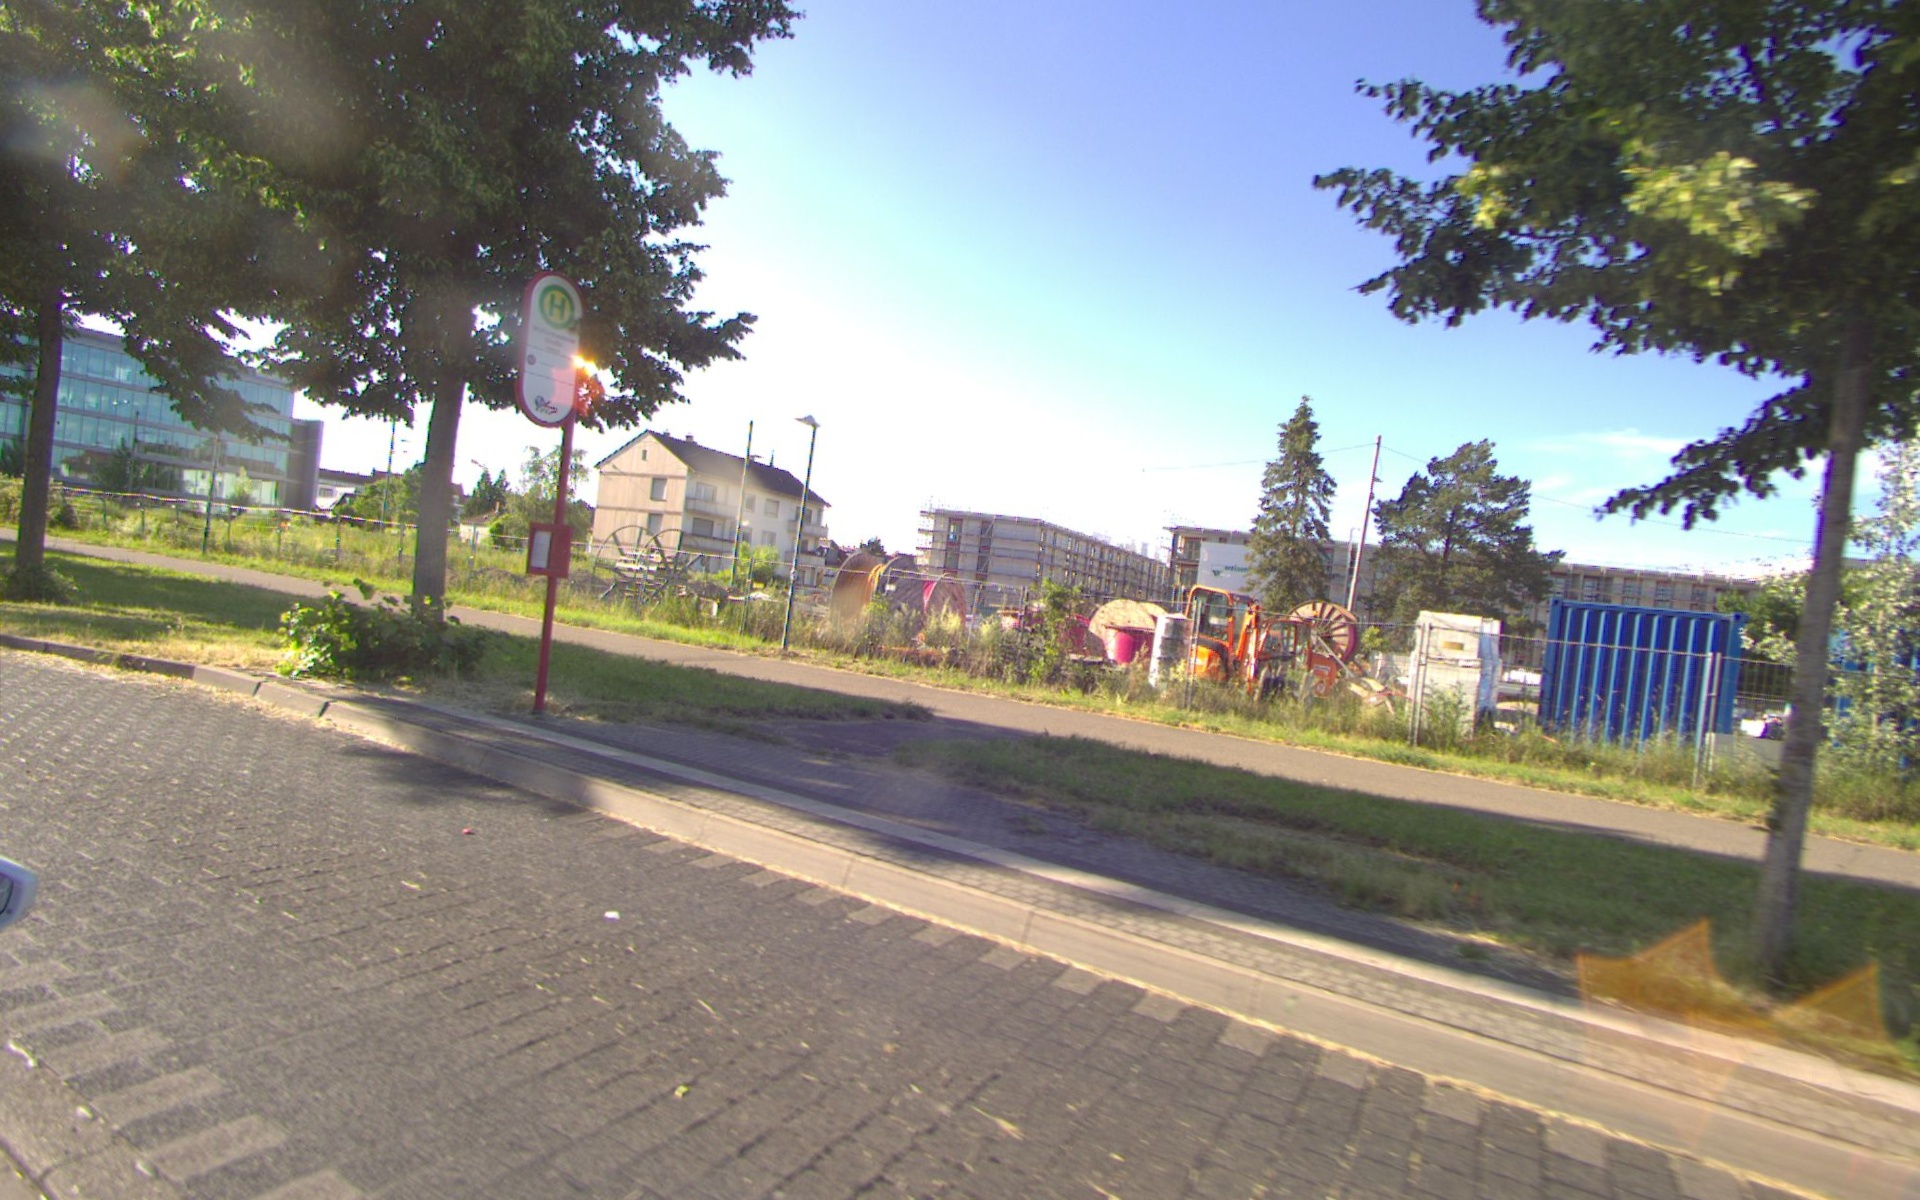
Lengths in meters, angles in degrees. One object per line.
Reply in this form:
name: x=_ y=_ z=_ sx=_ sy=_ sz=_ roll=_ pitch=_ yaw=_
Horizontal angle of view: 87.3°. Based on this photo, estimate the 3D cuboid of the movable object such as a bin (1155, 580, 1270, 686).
movable object such as a bin: x=5.403 y=0.719 z=21.466 sx=1.760 sy=2.038 sz=1.797 roll=5 pitch=-1 yaw=32
